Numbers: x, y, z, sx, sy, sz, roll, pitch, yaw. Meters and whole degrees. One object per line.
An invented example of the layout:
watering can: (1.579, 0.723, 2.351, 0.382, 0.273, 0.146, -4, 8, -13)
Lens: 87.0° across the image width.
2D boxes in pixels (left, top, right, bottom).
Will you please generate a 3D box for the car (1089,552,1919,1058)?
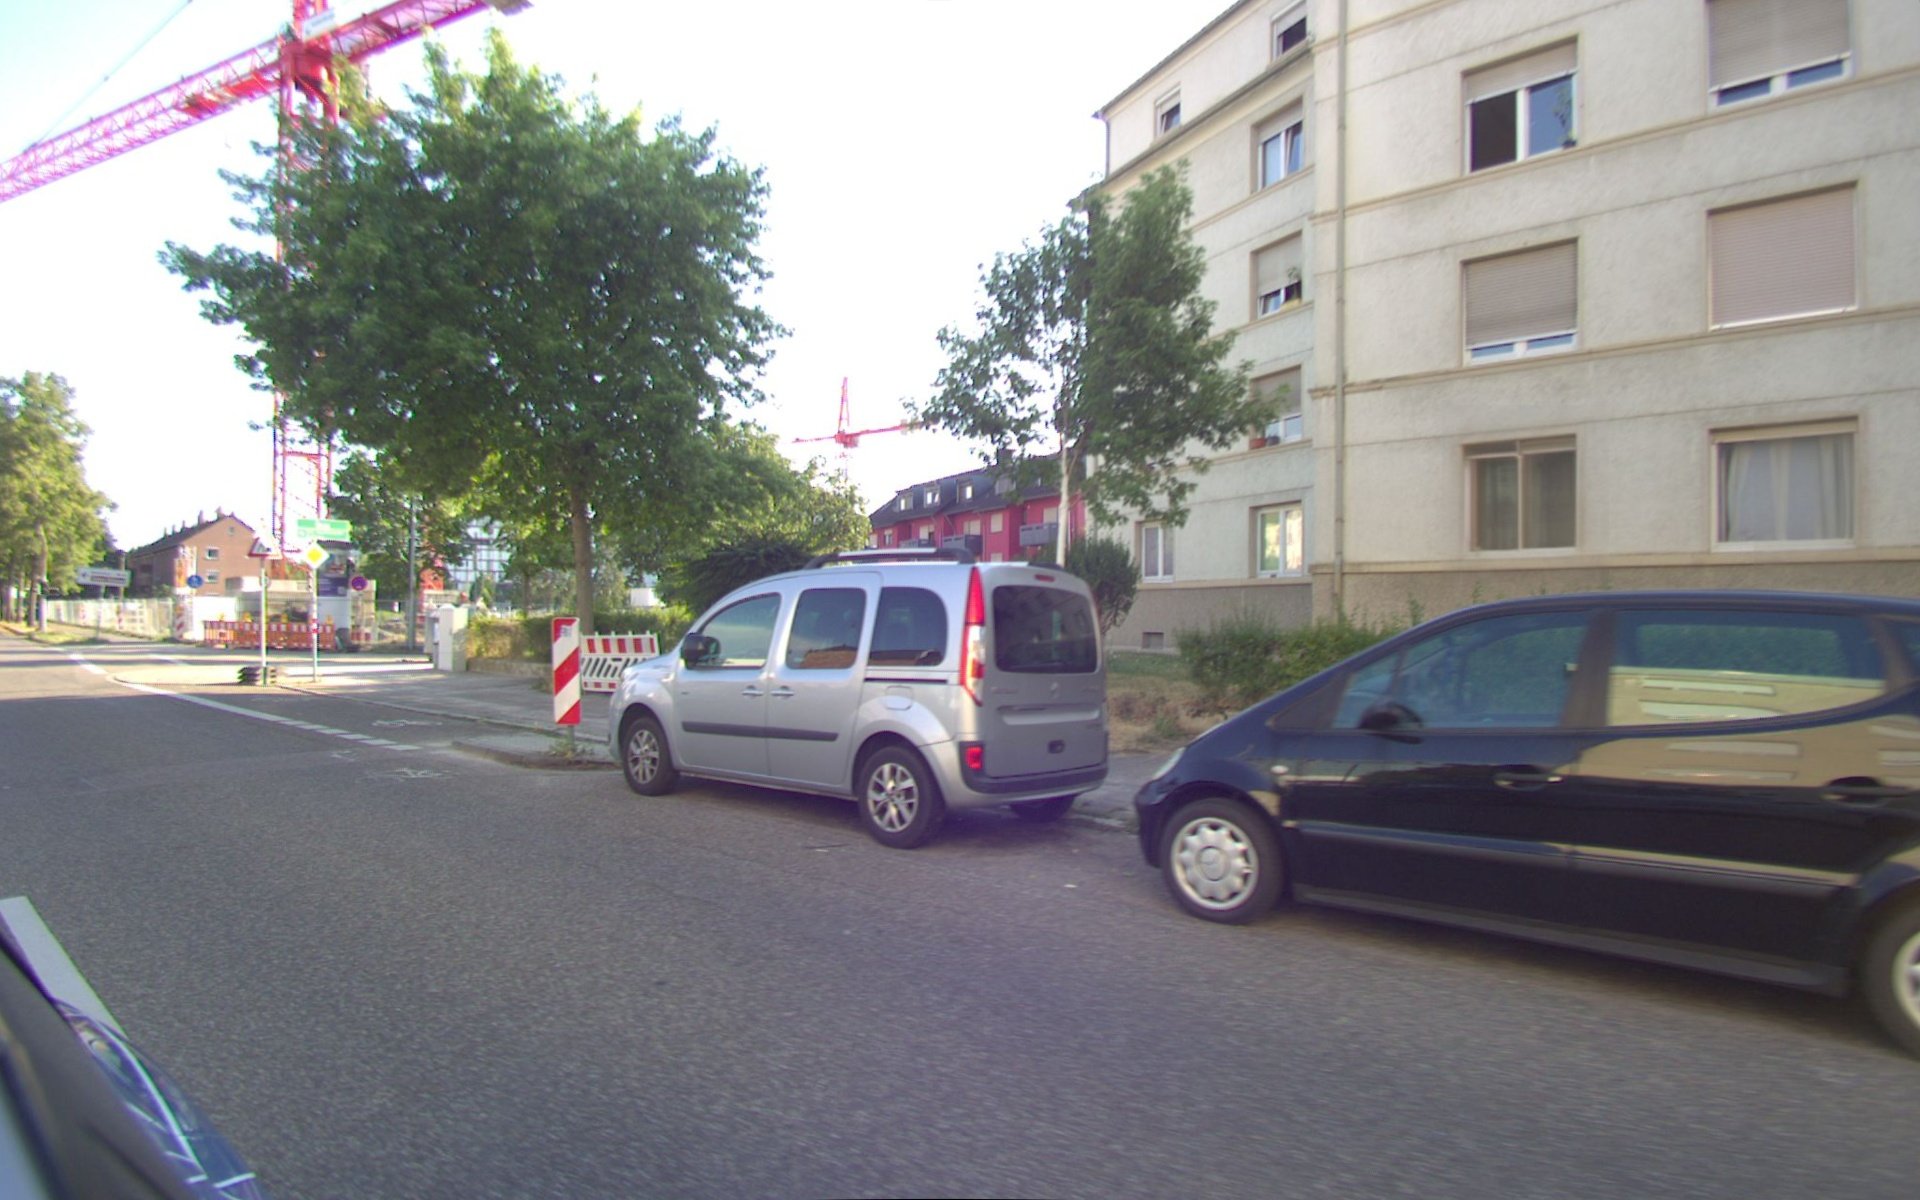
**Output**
car: (2.785, 0.672, 4.506, 3.996, 1.564, 1.855, 0, -3, 39)

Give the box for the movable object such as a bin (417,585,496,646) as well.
movable object such as a bin: (-45.631, 1.213, 91.446, 4.034, 5.102, 12.249, -1, 1, -38)

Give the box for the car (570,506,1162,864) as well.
car: (-0.935, 0.482, 7.598, 4.486, 1.911, 1.821, 0, -3, 42)
